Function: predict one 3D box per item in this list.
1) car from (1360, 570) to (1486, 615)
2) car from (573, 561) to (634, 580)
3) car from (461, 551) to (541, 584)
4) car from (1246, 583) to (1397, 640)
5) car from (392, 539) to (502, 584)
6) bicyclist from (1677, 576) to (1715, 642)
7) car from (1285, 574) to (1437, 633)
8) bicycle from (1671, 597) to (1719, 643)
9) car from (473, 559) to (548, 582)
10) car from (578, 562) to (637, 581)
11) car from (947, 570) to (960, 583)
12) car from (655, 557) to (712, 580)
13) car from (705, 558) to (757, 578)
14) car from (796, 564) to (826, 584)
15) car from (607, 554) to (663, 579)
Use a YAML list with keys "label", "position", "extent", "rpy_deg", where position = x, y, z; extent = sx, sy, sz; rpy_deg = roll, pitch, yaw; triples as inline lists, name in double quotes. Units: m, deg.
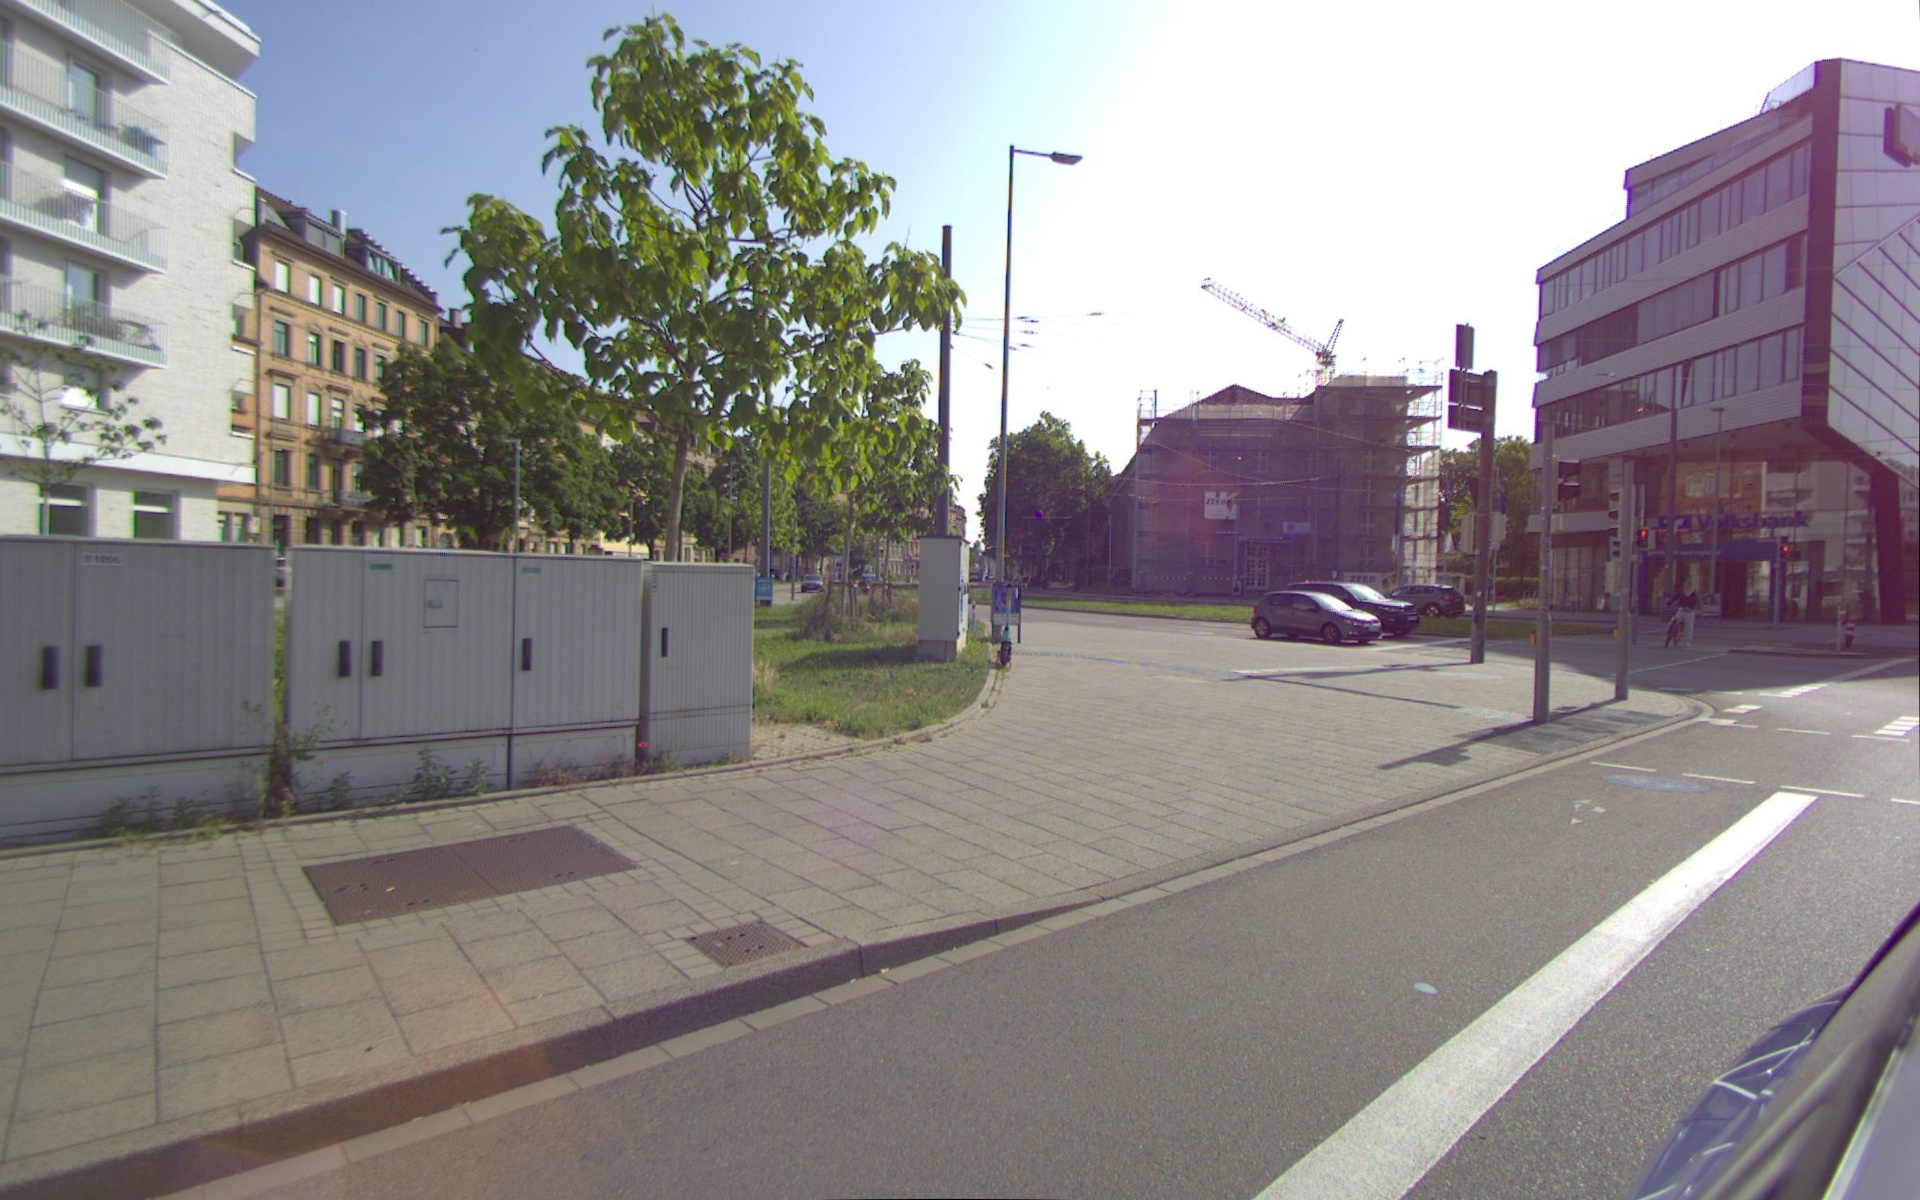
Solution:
- label: "car"
  position: [20.754, -0.401, 45.521]
  extent: [1.921, 1.805, 4.811]
  rpy_deg: [-2, 3, -39]
- label: "car"
  position: [-25.020, -2.082, 71.080]
  extent: [3.779, 1.264, 1.724]
  rpy_deg: [0, 2, -30]
- label: "car"
  position: [-25.486, -1.811, 56.224]
  extent: [3.905, 1.727, 1.882]
  rpy_deg: [0, 1, -30]
- label: "car"
  position: [10.442, 0.280, 29.484]
  extent: [1.613, 1.436, 3.896]
  rpy_deg: [0, 2, -35]
- label: "car"
  position: [-26.585, -1.977, 52.638]
  extent: [4.941, 2.205, 1.884]
  rpy_deg: [1, 1, -23]
- label: "bicyclist"
  position: [19.705, 0.231, 27.095]
  extent: [0.626, 1.723, 0.669]
  rpy_deg: [-2, 3, -42]
- label: "car"
  position: [12.677, 0.076, 32.253]
  extent: [1.768, 1.698, 4.224]
  rpy_deg: [1, 1, -33]
- label: "bicycle"
  position: [19.638, 0.523, 27.037]
  extent: [1.774, 1.111, 0.669]
  rpy_deg: [-2, 3, -42]
- label: "car"
  position: [-25.936, -1.683, 58.441]
  extent: [3.779, 1.264, 1.724]
  rpy_deg: [0, 2, -30]
- label: "car"
  position: [-25.464, -2.048, 73.152]
  extent: [3.779, 1.264, 1.724]
  rpy_deg: [0, 2, -30]
- label: "car"
  position: [-0.992, -3.940, 167.180]
  extent: [1.963, 2.002, 4.000]
  rpy_deg: [0, 3, 2]
- label: "car"
  position: [-24.461, -2.778, 89.610]
  extent: [4.640, 1.787, 1.725]
  rpy_deg: [2, 1, -23]
- label: "car"
  position: [-23.308, -3.276, 103.231]
  extent: [4.832, 1.861, 1.722]
  rpy_deg: [2, 1, -35]
- label: "car"
  position: [-12.145, -2.129, 82.545]
  extent: [1.961, 1.580, 3.877]
  rpy_deg: [0, 1, -2]
- label: "car"
  position: [-24.739, -2.520, 76.976]
  extent: [3.777, 1.828, 1.789]
  rpy_deg: [0, 1, -28]
